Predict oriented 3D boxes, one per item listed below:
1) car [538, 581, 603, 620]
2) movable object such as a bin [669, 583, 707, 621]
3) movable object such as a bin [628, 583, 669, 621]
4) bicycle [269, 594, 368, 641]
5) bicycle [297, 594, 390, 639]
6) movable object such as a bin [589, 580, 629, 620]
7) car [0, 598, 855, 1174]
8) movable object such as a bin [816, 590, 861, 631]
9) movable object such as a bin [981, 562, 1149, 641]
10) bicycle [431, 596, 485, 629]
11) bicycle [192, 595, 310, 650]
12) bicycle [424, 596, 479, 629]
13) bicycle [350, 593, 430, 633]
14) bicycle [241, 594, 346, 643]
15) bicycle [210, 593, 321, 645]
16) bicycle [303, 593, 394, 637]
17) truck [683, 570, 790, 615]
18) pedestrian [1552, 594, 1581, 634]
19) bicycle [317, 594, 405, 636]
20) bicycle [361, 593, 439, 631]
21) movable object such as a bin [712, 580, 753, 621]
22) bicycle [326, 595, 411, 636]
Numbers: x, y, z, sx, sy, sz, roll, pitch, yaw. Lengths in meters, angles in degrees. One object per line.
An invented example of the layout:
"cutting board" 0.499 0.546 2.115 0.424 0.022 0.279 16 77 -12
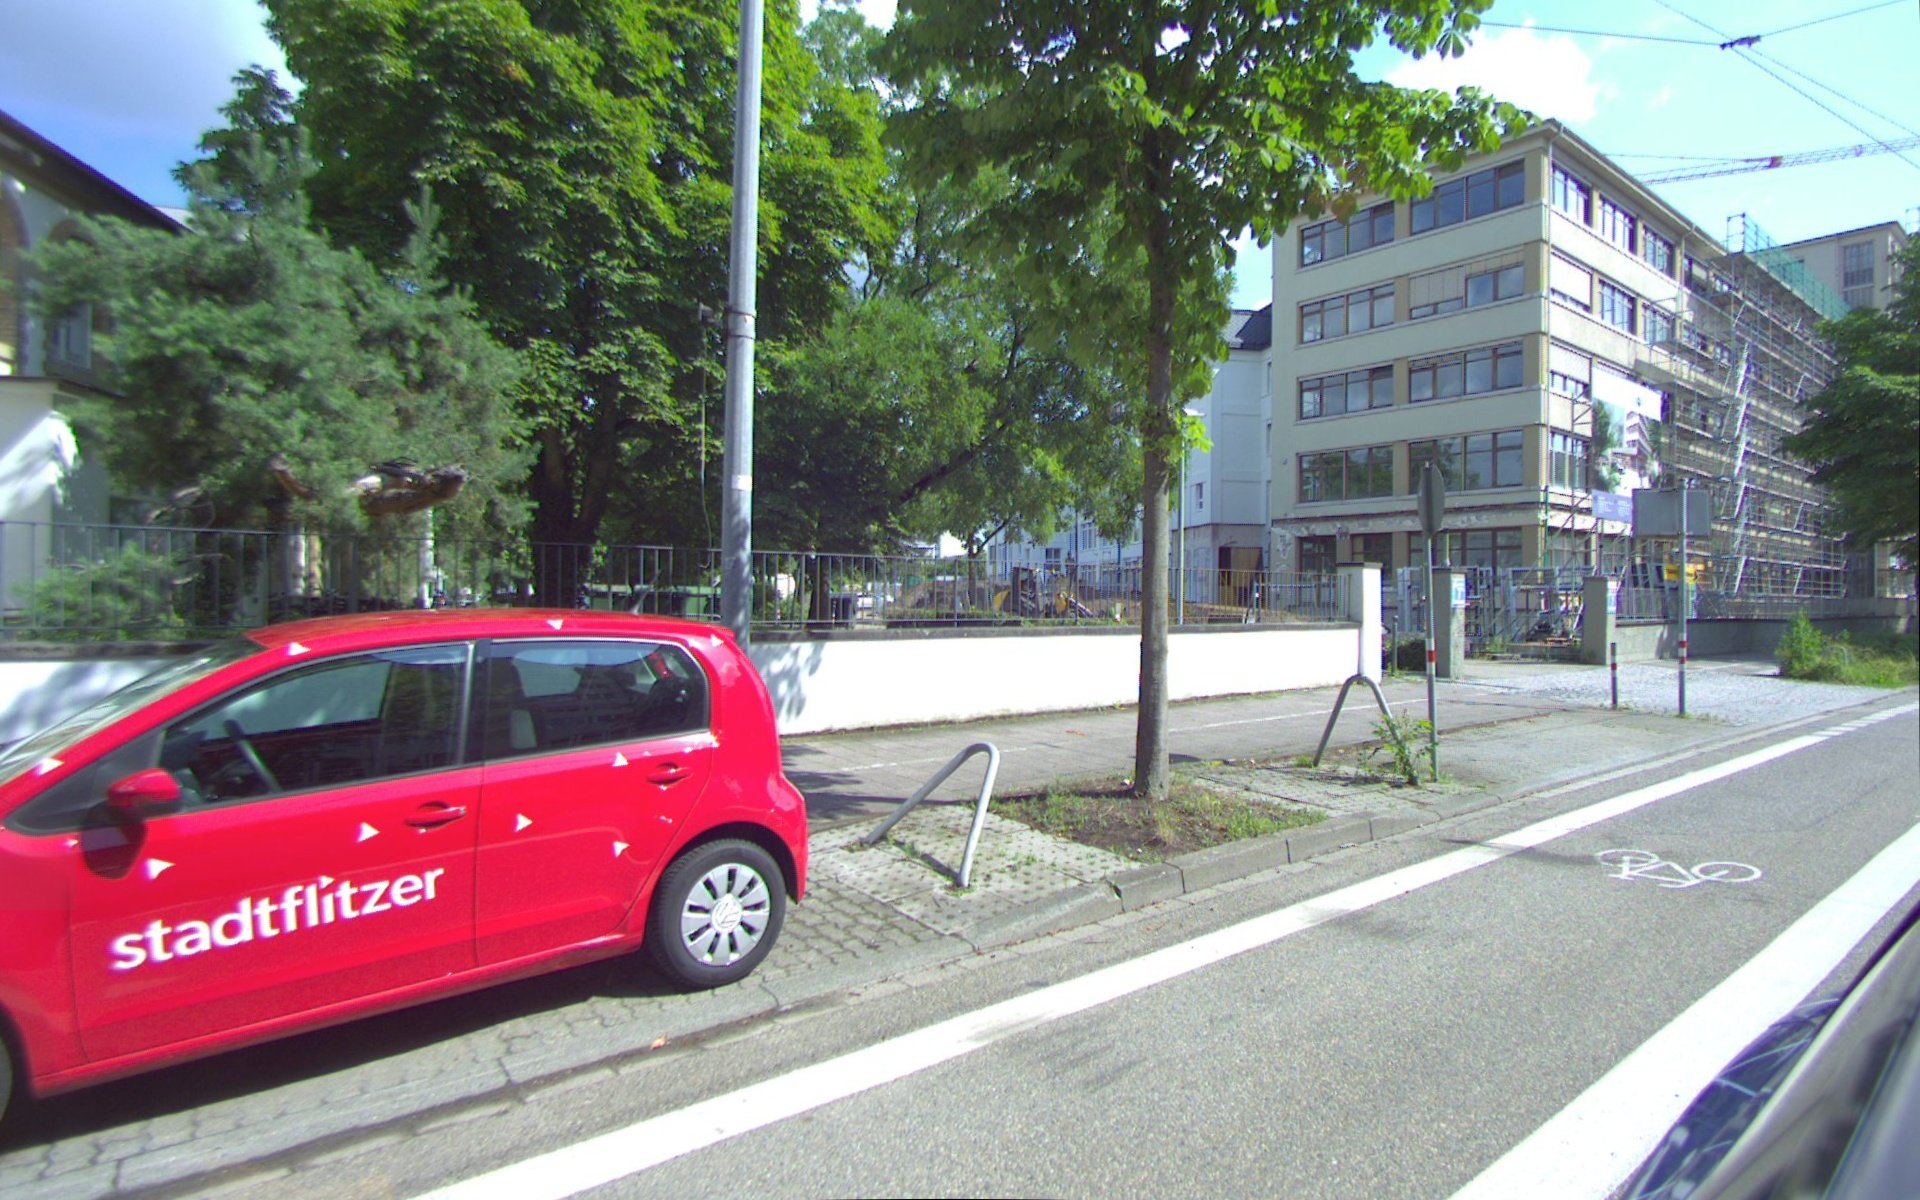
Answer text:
"car" -16.206 -0.004 42.338 1.772 1.516 5.102 0 0 -12
"movable object such as a bin" -9.333 0.062 34.792 1.230 1.281 1.002 1 0 -14
"movable object such as a bin" -10.644 0.066 34.595 1.247 1.235 1.031 1 0 -14
"bicycle" -14.199 0.394 22.434 1.782 1.000 0.428 1 -2 -12
"bicycle" -14.309 0.378 23.533 1.782 1.000 0.428 1 -2 -12
"movable object such as a bin" -11.928 0.003 34.395 1.166 1.309 1.005 1 0 -14
"car" -2.319 0.747 3.820 3.531 1.446 1.604 0 2 -39
"movable object such as a bin" -4.243 0.349 35.367 1.302 1.374 1.128 1 0 8
"movable object such as a bin" 3.613 0.018 35.216 5.387 2.474 1.979 3 0 30
"bicycle" -15.813 0.403 31.896 1.428 1.000 0.428 1 -2 -12
"bicycle" -13.529 0.432 19.345 1.782 1.000 0.428 1 -2 -12
"bicycle" -15.727 0.389 31.322 1.428 1.000 0.428 1 -2 -10
"bicycle" -15.029 0.345 26.704 1.782 1.000 0.428 1 -2 -12
"bicycle" -14.011 0.394 21.316 1.782 1.000 0.428 1 -2 -12
"bicycle" -14.038 0.385 20.487 1.782 1.000 0.428 1 -2 -12
"bicycle" -14.501 0.361 24.044 1.782 1.000 0.428 1 -2 -12
"truck" -14.361 -0.431 65.167 6.422 2.813 2.003 1 -1 -25
"pedestrian" 20.586 0.488 34.359 0.453 1.329 0.636 -3 0 -23
"bicycle" -14.647 0.370 24.778 1.782 1.000 0.428 1 -2 -12
"bicycle" -15.293 0.325 27.658 1.782 1.000 0.428 1 -2 -12
"movable object such as a bin" -7.929 0.021 35.211 1.338 1.369 1.096 1 0 -14
"bicycle" -14.879 0.397 25.483 1.782 1.000 0.428 1 -2 -12
